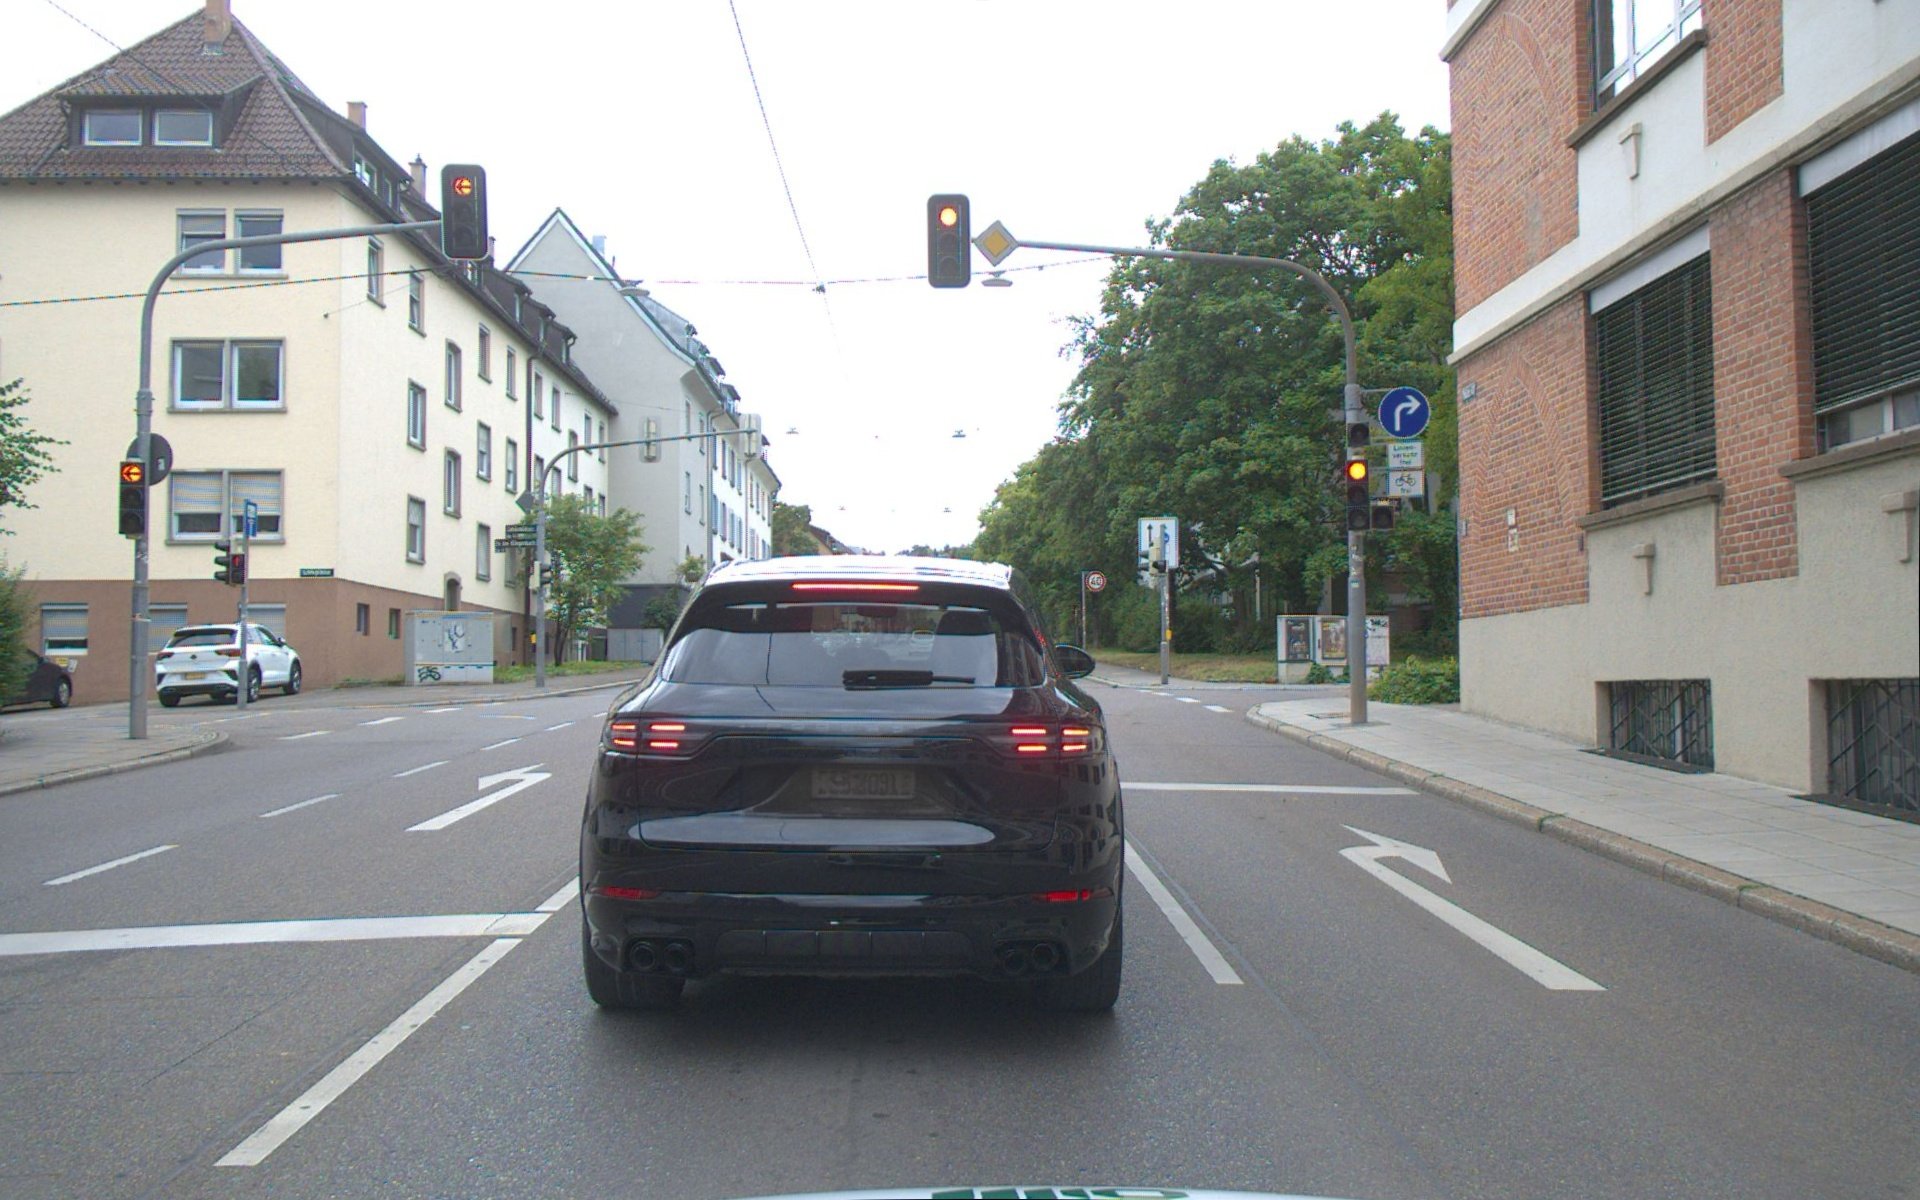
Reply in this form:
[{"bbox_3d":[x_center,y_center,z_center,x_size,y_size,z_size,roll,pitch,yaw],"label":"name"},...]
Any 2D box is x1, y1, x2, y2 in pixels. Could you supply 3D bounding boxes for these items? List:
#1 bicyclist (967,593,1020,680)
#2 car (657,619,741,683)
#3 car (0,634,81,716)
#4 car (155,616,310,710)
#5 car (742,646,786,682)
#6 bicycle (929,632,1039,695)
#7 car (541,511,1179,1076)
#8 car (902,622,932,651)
[{"bbox_3d":[0.602,0.663,29.924,0.795,1.546,0.704,1,-1,-12],"label":"bicyclist"},{"bbox_3d":[-7.109,1.360,45.286,1.630,1.545,3.739,-4,0,0],"label":"car"},{"bbox_3d":[-19.729,1.549,33.490,1.636,1.573,4.100,-3,0,-1],"label":"car"},{"bbox_3d":[-14.735,1.225,33.708,1.638,1.691,3.995,-3,0,-5],"label":"car"},{"bbox_3d":[-8.196,2.676,69.438,1.637,1.386,3.997,0,0,-4],"label":"car"},{"bbox_3d":[0.430,1.151,29.891,1.872,1.100,0.701,1,0,-13],"label":"bicycle"},{"bbox_3d":[-0.334,0.612,7.141,1.953,1.726,3.999,1,0,-1],"label":"car"},{"bbox_3d":[-2.447,2.053,93.841,1.654,1.579,3.887,1,0,-2],"label":"car"}]
